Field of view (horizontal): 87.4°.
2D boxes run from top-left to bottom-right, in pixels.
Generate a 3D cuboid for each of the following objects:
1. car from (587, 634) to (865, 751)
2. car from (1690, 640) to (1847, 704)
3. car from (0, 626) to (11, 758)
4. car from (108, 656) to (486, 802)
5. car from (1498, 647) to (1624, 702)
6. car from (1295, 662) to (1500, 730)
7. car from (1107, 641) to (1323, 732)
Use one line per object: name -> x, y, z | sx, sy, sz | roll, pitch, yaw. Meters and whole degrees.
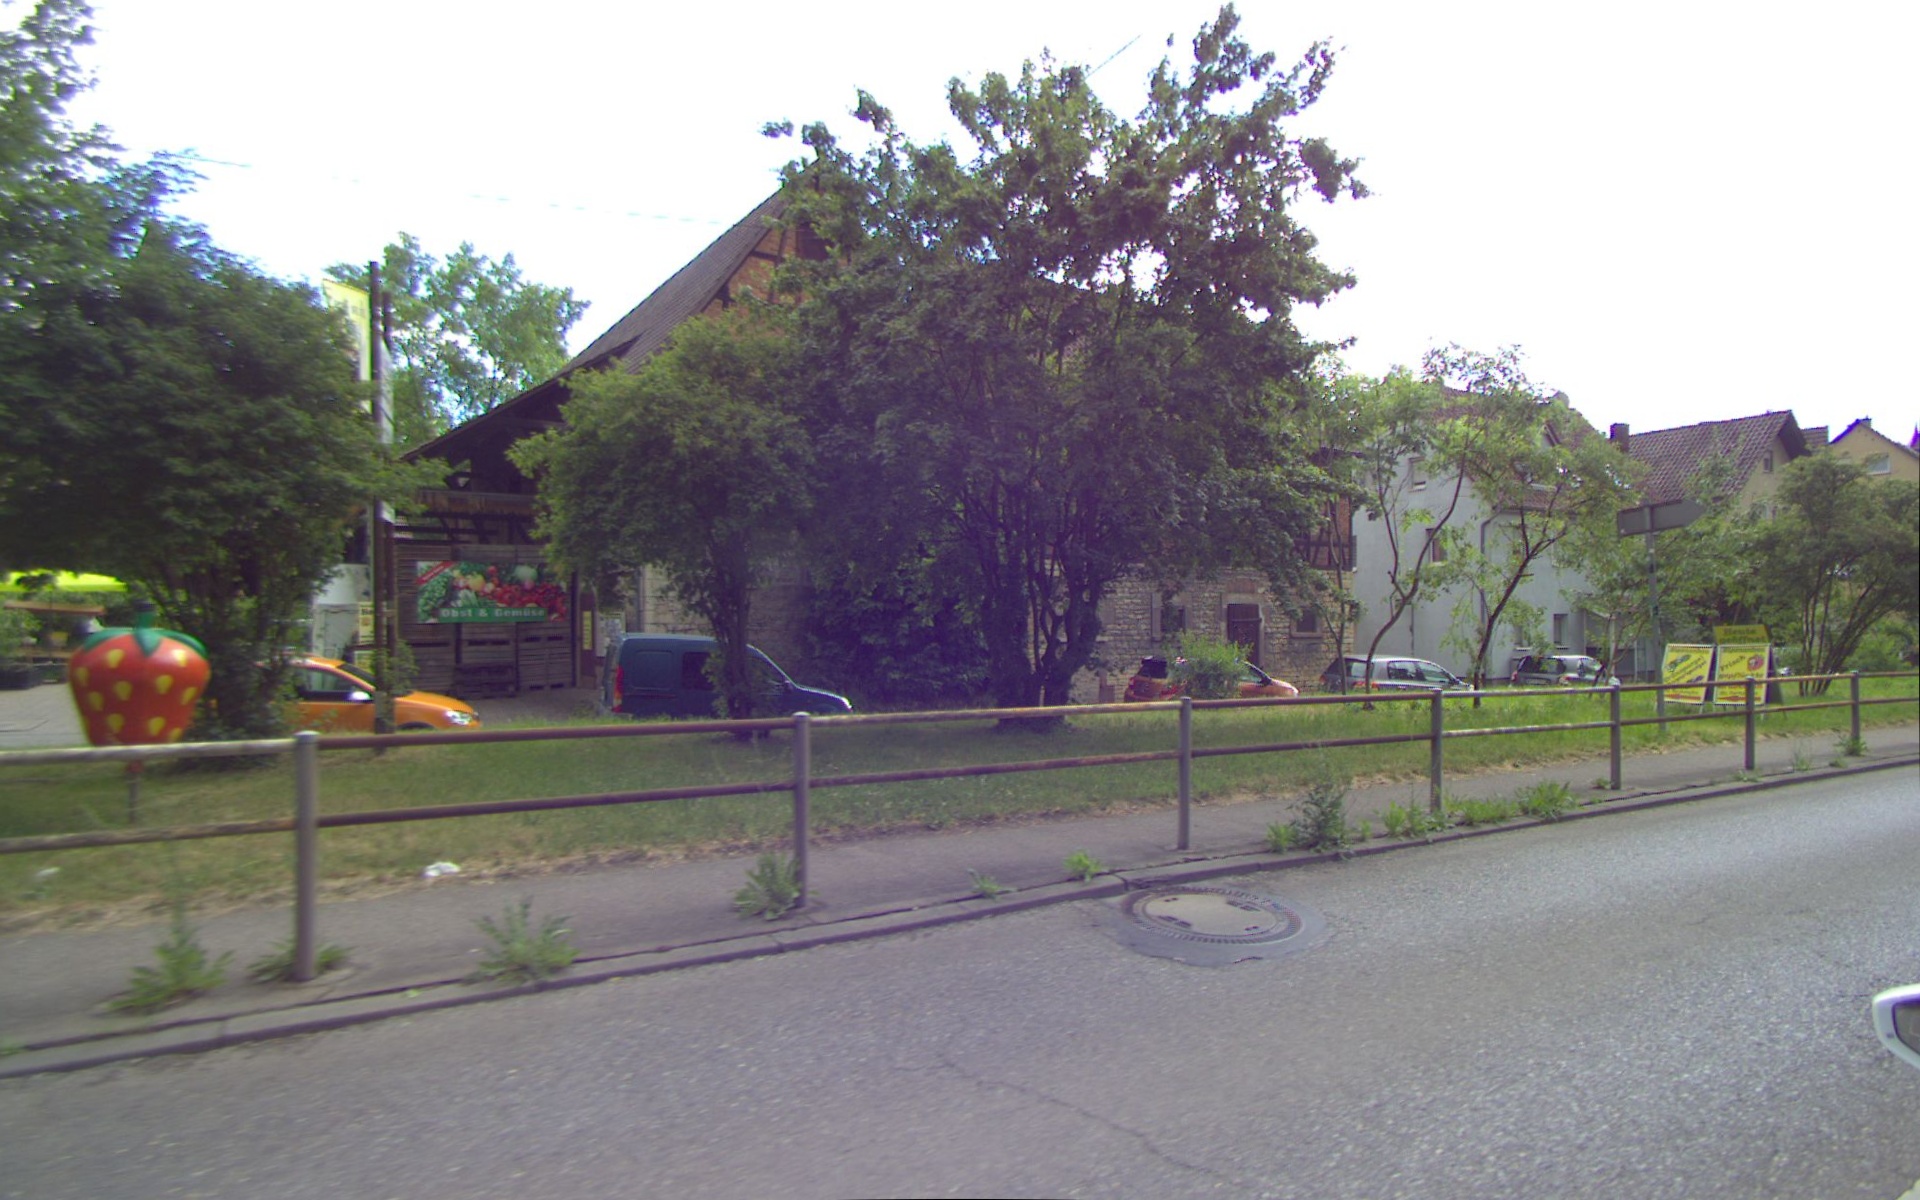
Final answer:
car -> -3.656, 1.367, 15.780 | 3.949, 1.639, 1.805 | 1, -3, -28
car -> 23.159, 2.010, 28.787 | 3.945, 1.717, 1.916 | 1, -3, -25
car -> -13.558, 1.077, 10.839 | 4.392, 1.639, 1.986 | 1, -3, -28
car -> -8.552, 1.592, 13.438 | 3.949, 1.639, 1.941 | 1, -3, -28
car -> 14.992, 1.826, 25.082 | 2.518, 1.294, 1.549 | 1, -3, -24
car -> 9.573, 2.042, 22.006 | 3.945, 1.294, 1.989 | 1, -3, -24
car -> 5.072, 1.651, 19.928 | 3.949, 1.639, 1.805 | 1, -3, -28
